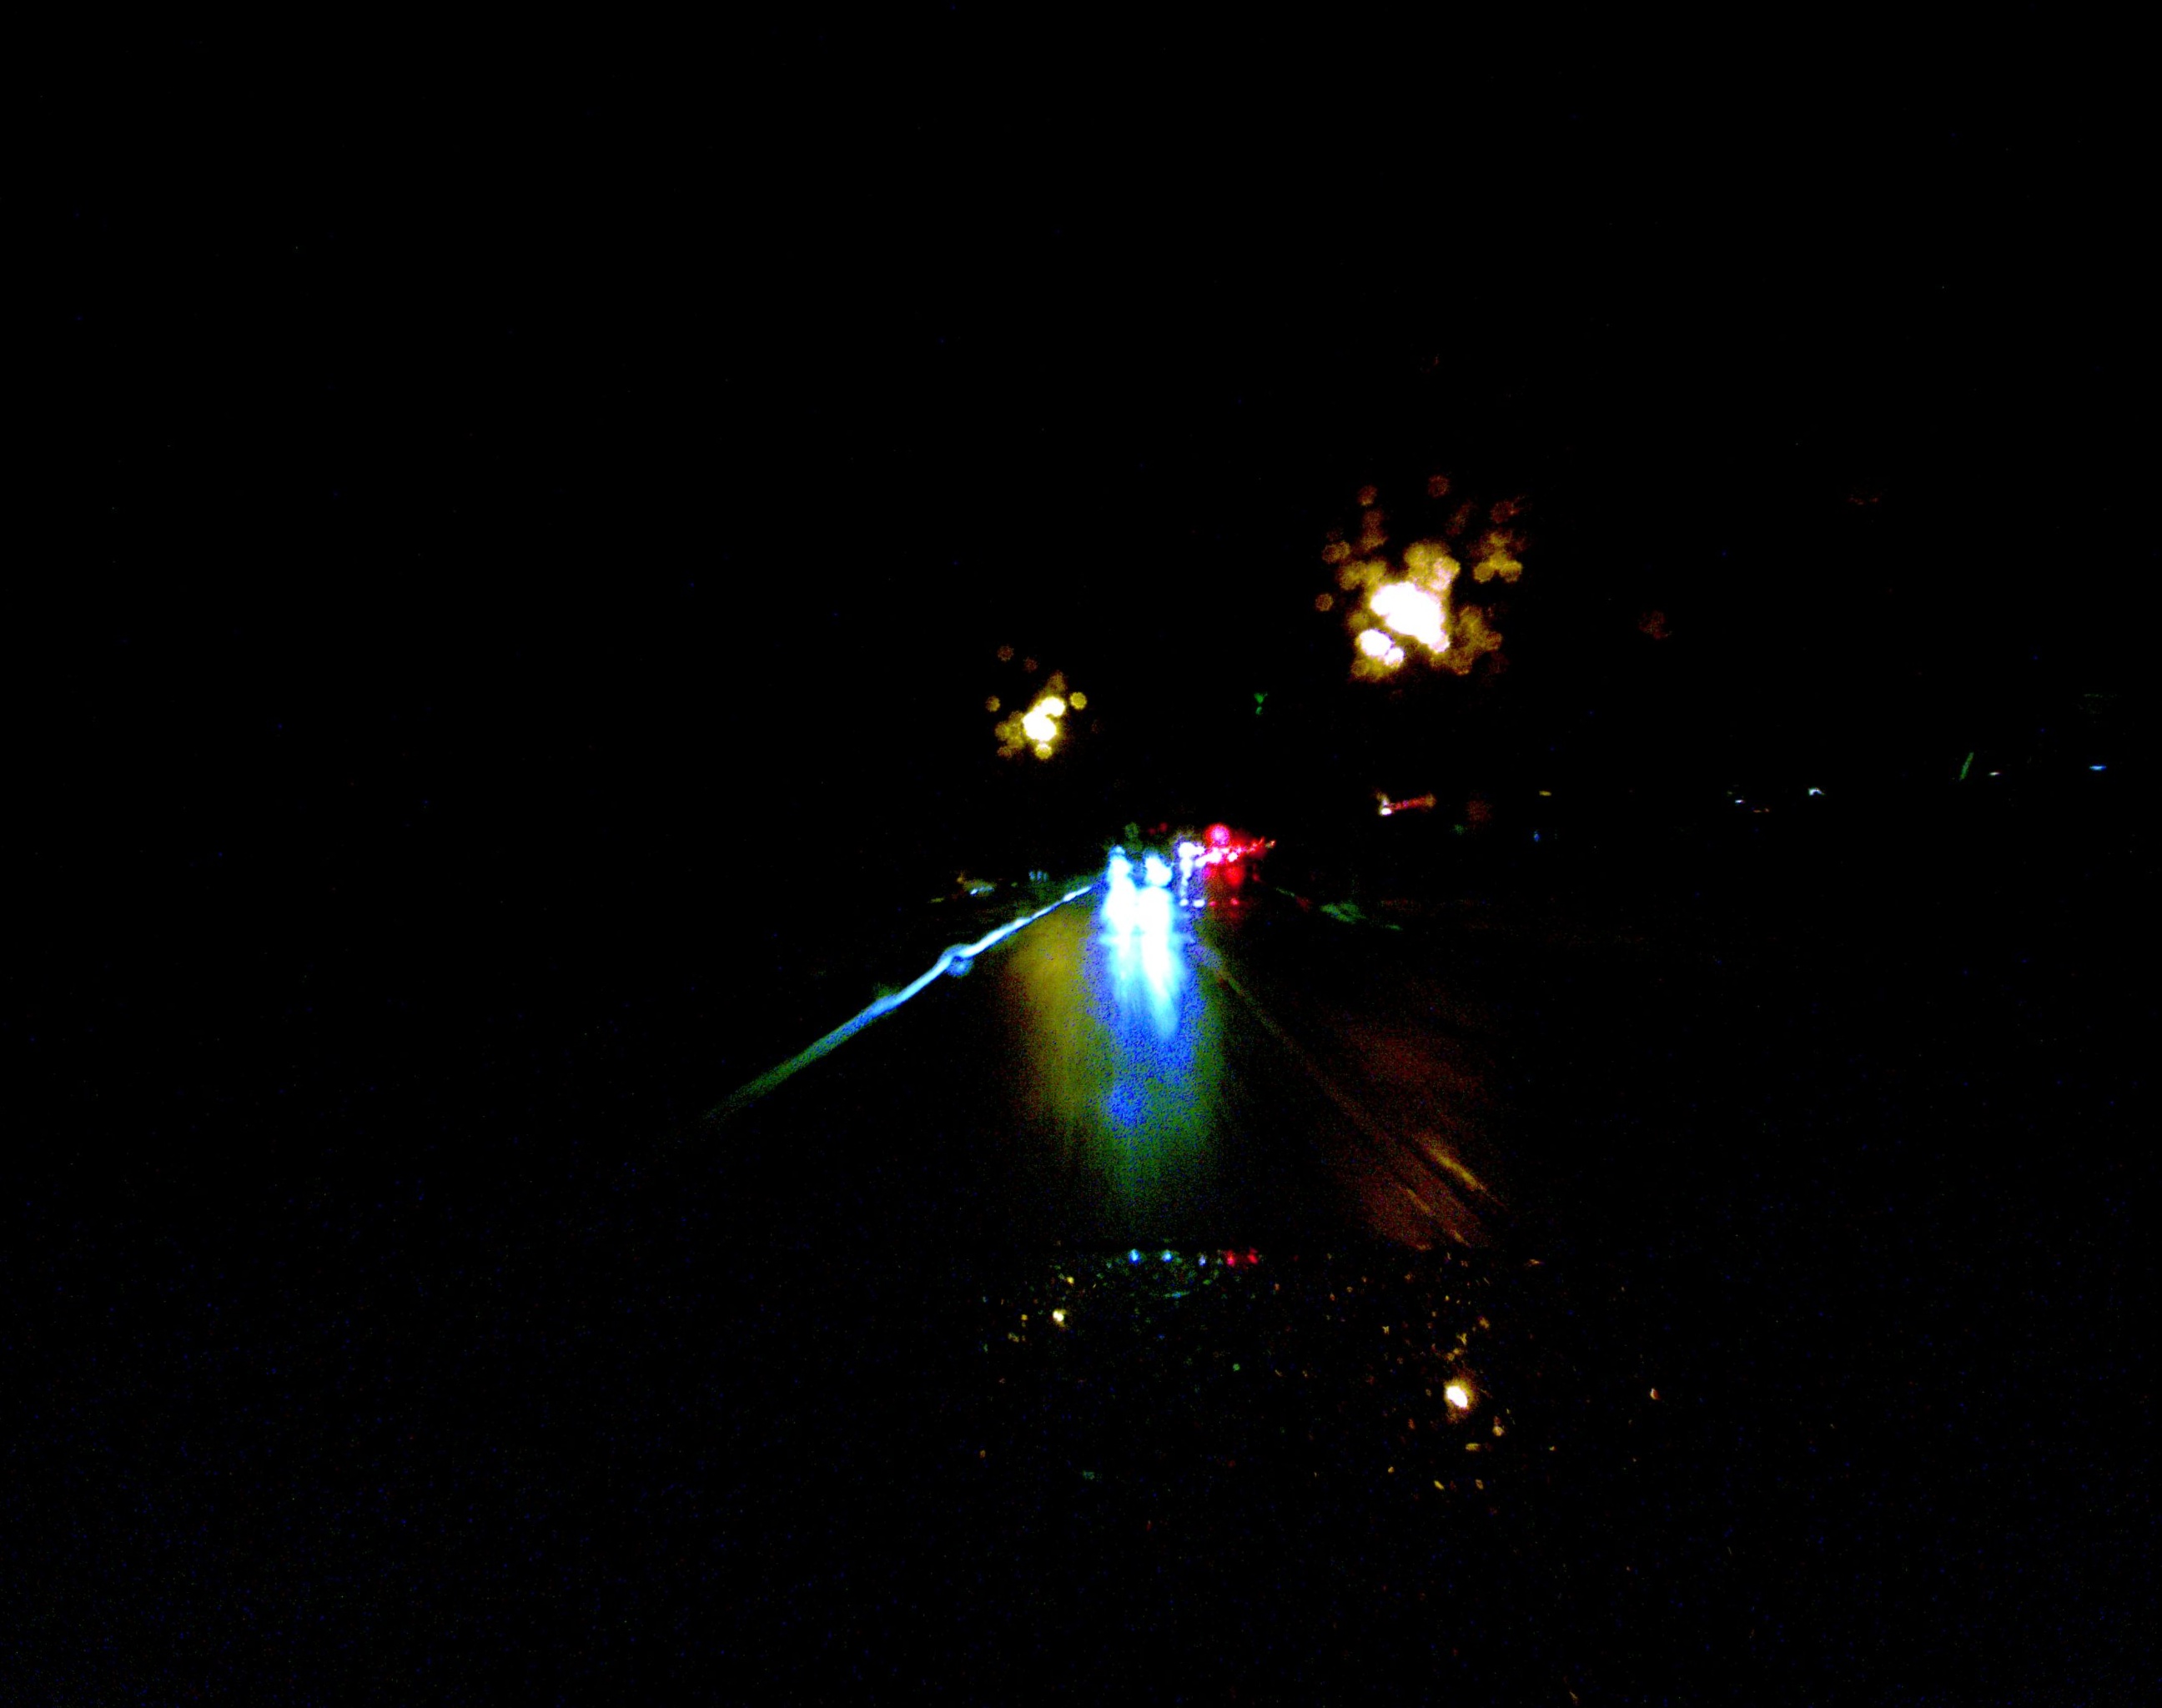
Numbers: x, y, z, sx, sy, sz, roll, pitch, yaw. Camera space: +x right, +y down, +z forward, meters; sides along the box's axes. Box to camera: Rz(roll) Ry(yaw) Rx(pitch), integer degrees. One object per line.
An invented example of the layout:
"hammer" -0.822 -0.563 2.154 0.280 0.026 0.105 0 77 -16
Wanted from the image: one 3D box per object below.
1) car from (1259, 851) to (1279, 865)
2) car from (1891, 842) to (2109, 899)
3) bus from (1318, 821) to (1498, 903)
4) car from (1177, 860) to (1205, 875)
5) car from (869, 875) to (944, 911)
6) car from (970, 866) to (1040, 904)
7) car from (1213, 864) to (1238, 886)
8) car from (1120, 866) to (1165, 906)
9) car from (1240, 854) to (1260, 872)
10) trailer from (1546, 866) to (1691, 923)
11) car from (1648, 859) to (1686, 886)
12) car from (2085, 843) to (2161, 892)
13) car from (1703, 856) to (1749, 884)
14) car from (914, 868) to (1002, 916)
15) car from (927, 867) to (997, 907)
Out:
"car" 21.778 0.471 88.059 1.714 1.467 3.874 -3 0 21
"car" 32.253 0.501 26.930 1.942 1.687 4.624 -4 2 -5
"bus" 17.952 0.360 43.418 2.902 3.846 13.048 -2 0 -8
"car" 10.773 1.350 74.692 1.592 1.286 3.364 -4 2 -13
"car" -7.786 1.711 34.247 1.637 1.501 3.681 0 -1 17
"car" -3.114 1.263 31.839 1.637 1.390 3.680 -2 0 15
"car" 10.271 1.483 53.859 1.638 1.501 4.121 0 -1 12
"car" 3.102 1.550 37.680 1.958 1.712 4.002 -2 1 8
"car" 16.668 0.895 74.892 1.698 1.590 3.805 -2 1 16
"trailer" 17.217 1.236 24.622 1.817 1.667 4.101 0 -1 0
"car" 38.185 1.142 49.560 1.855 1.391 4.046 2 4 36
"car" 40.464 0.503 27.524 1.942 1.687 4.624 -4 2 -5
"car" 40.349 0.983 47.614 1.855 1.391 4.046 2 4 36
"car" -4.341 1.325 27.401 1.676 1.557 3.807 -2 -2 15
"car" -5.142 1.397 33.212 1.637 1.610 3.540 0 -1 17
